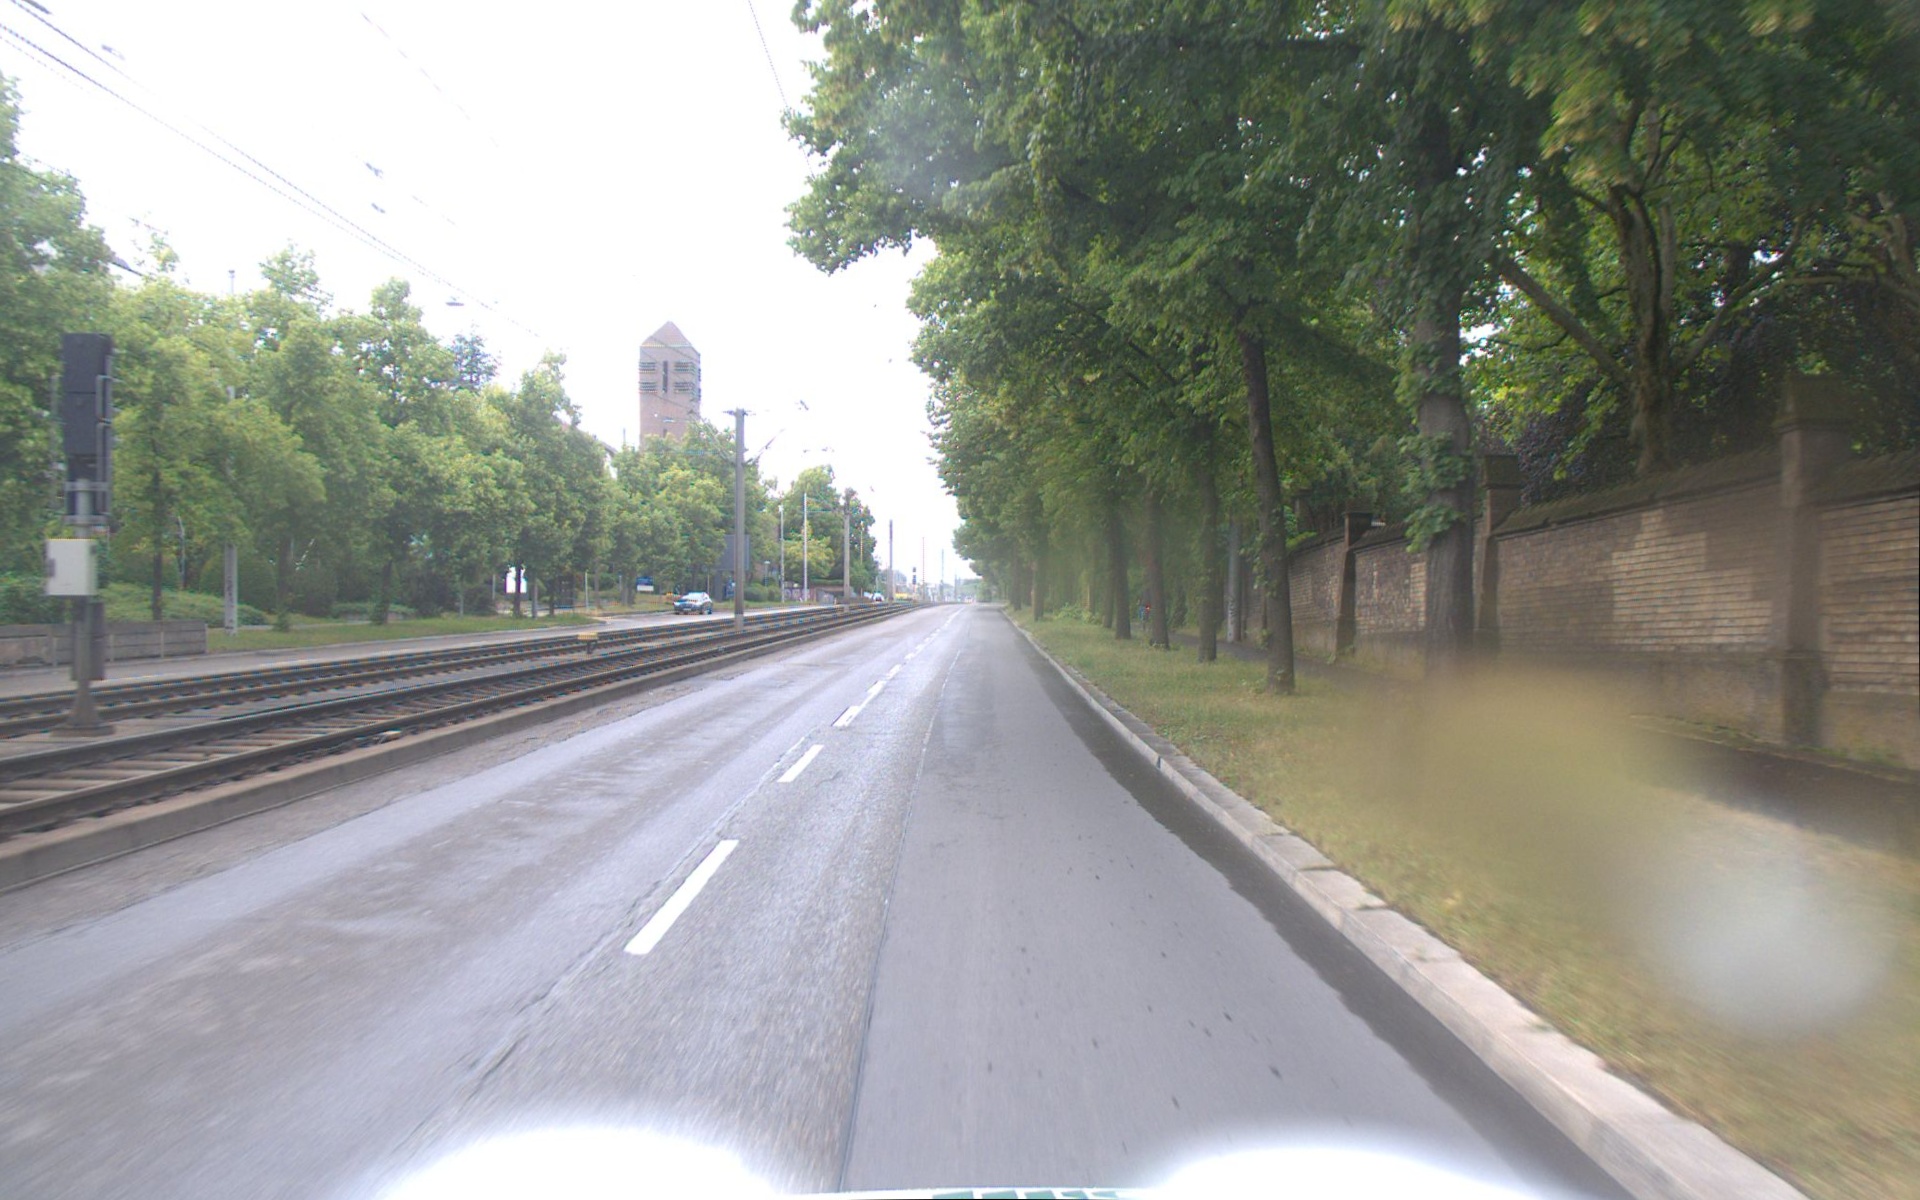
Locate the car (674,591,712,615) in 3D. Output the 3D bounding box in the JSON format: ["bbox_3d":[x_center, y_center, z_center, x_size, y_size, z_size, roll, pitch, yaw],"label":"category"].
[{"bbox_3d":[-17.606,0.163,109.193,1.758,1.557,4.621,0,0,-1],"label":"car"}]

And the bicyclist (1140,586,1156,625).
[{"bbox_3d":[6.839,0.202,60.196,0.523,1.414,0.666,0,0,4],"label":"bicyclist"}]

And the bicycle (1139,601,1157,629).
[{"bbox_3d":[6.806,0.540,60.011,0.531,0.964,2.550,0,0,4],"label":"bicycle"}]
